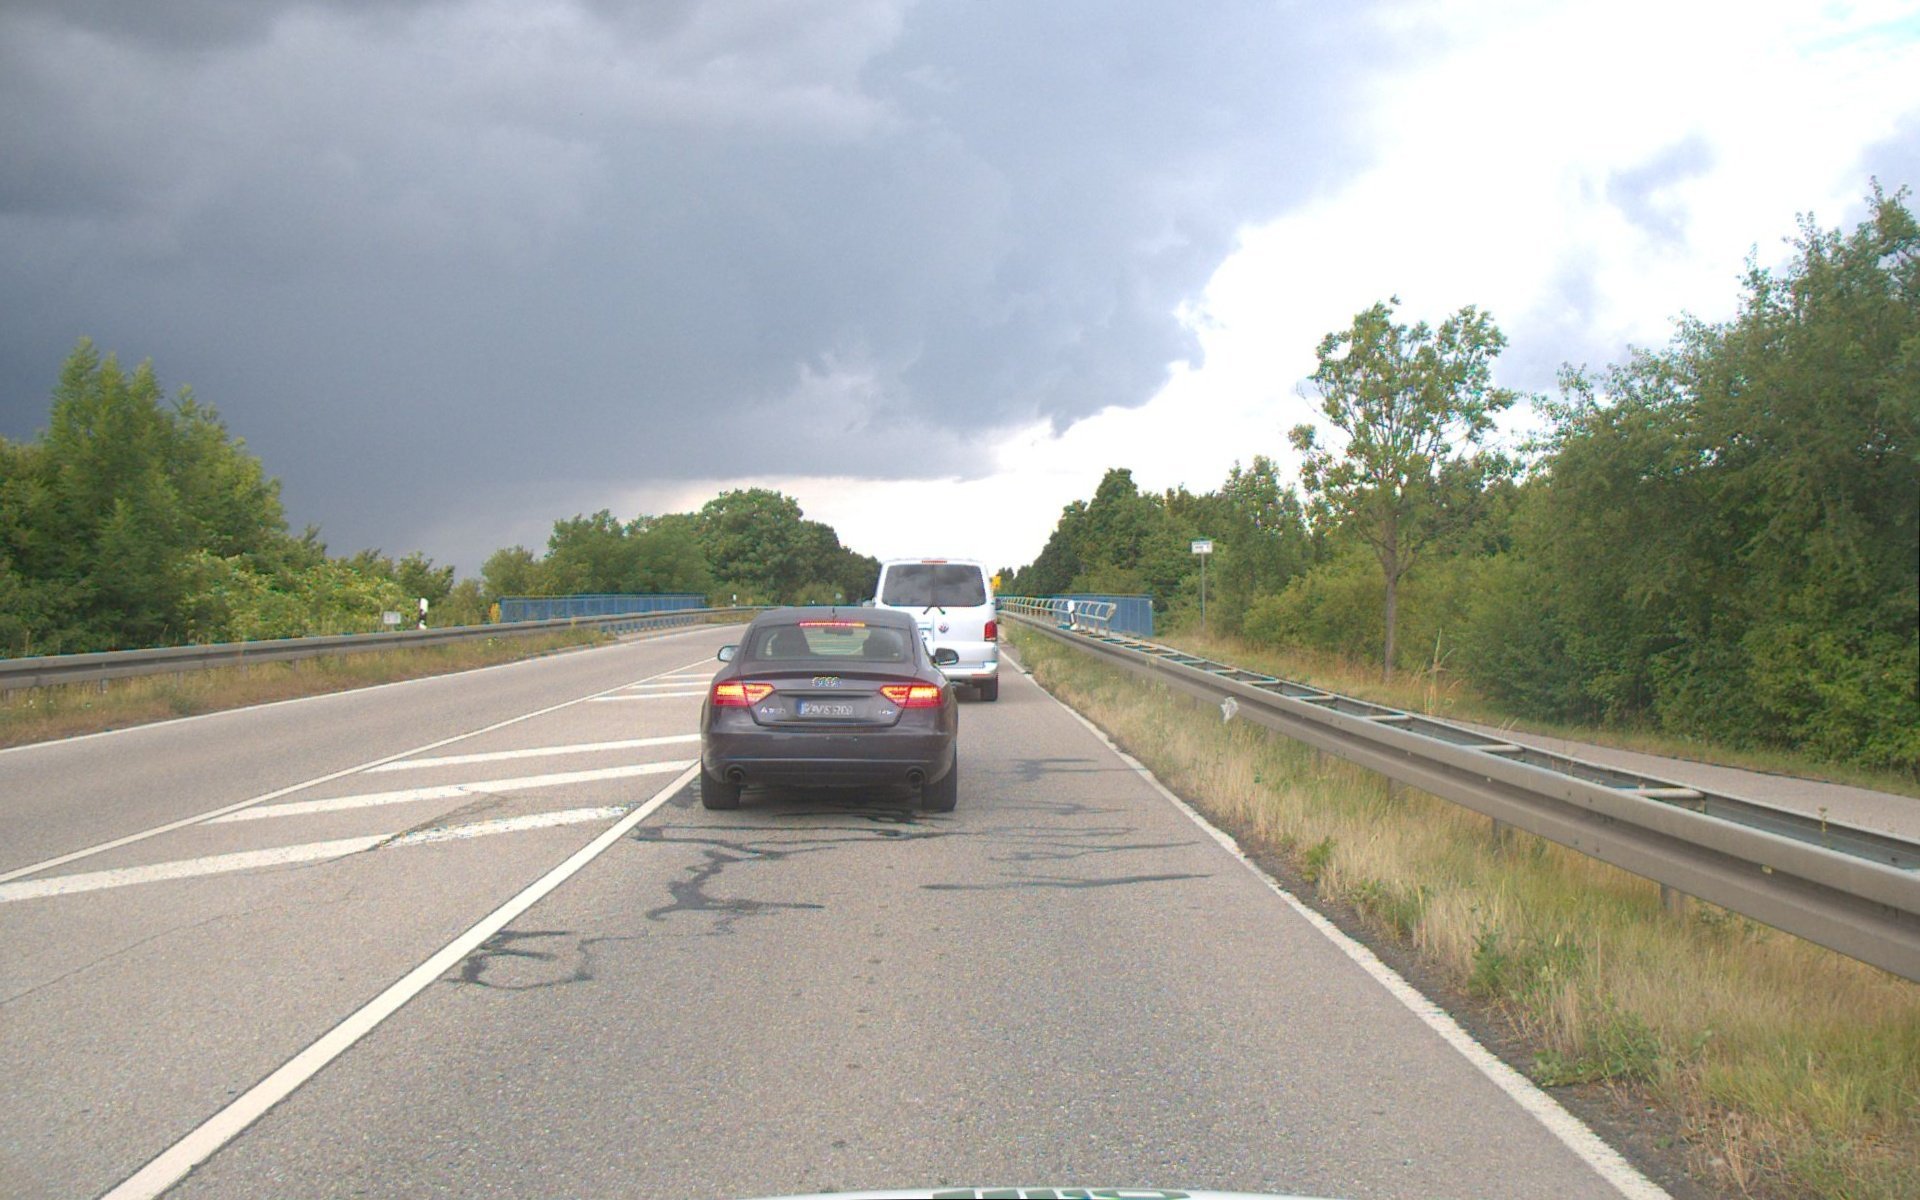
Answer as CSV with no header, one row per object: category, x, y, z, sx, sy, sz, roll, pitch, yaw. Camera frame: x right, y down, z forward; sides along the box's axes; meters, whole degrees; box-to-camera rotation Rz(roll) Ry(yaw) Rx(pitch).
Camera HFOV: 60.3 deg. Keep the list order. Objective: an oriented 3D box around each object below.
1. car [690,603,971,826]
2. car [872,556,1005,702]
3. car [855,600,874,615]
car,-0.862,0.734,12.635,1.784,1.405,4.071,0,0,-1
car,-0.324,0.392,24.376,1.791,1.969,3.999,0,0,-1
car,-9.565,0.709,165.217,1.763,1.475,4.444,0,0,-2
